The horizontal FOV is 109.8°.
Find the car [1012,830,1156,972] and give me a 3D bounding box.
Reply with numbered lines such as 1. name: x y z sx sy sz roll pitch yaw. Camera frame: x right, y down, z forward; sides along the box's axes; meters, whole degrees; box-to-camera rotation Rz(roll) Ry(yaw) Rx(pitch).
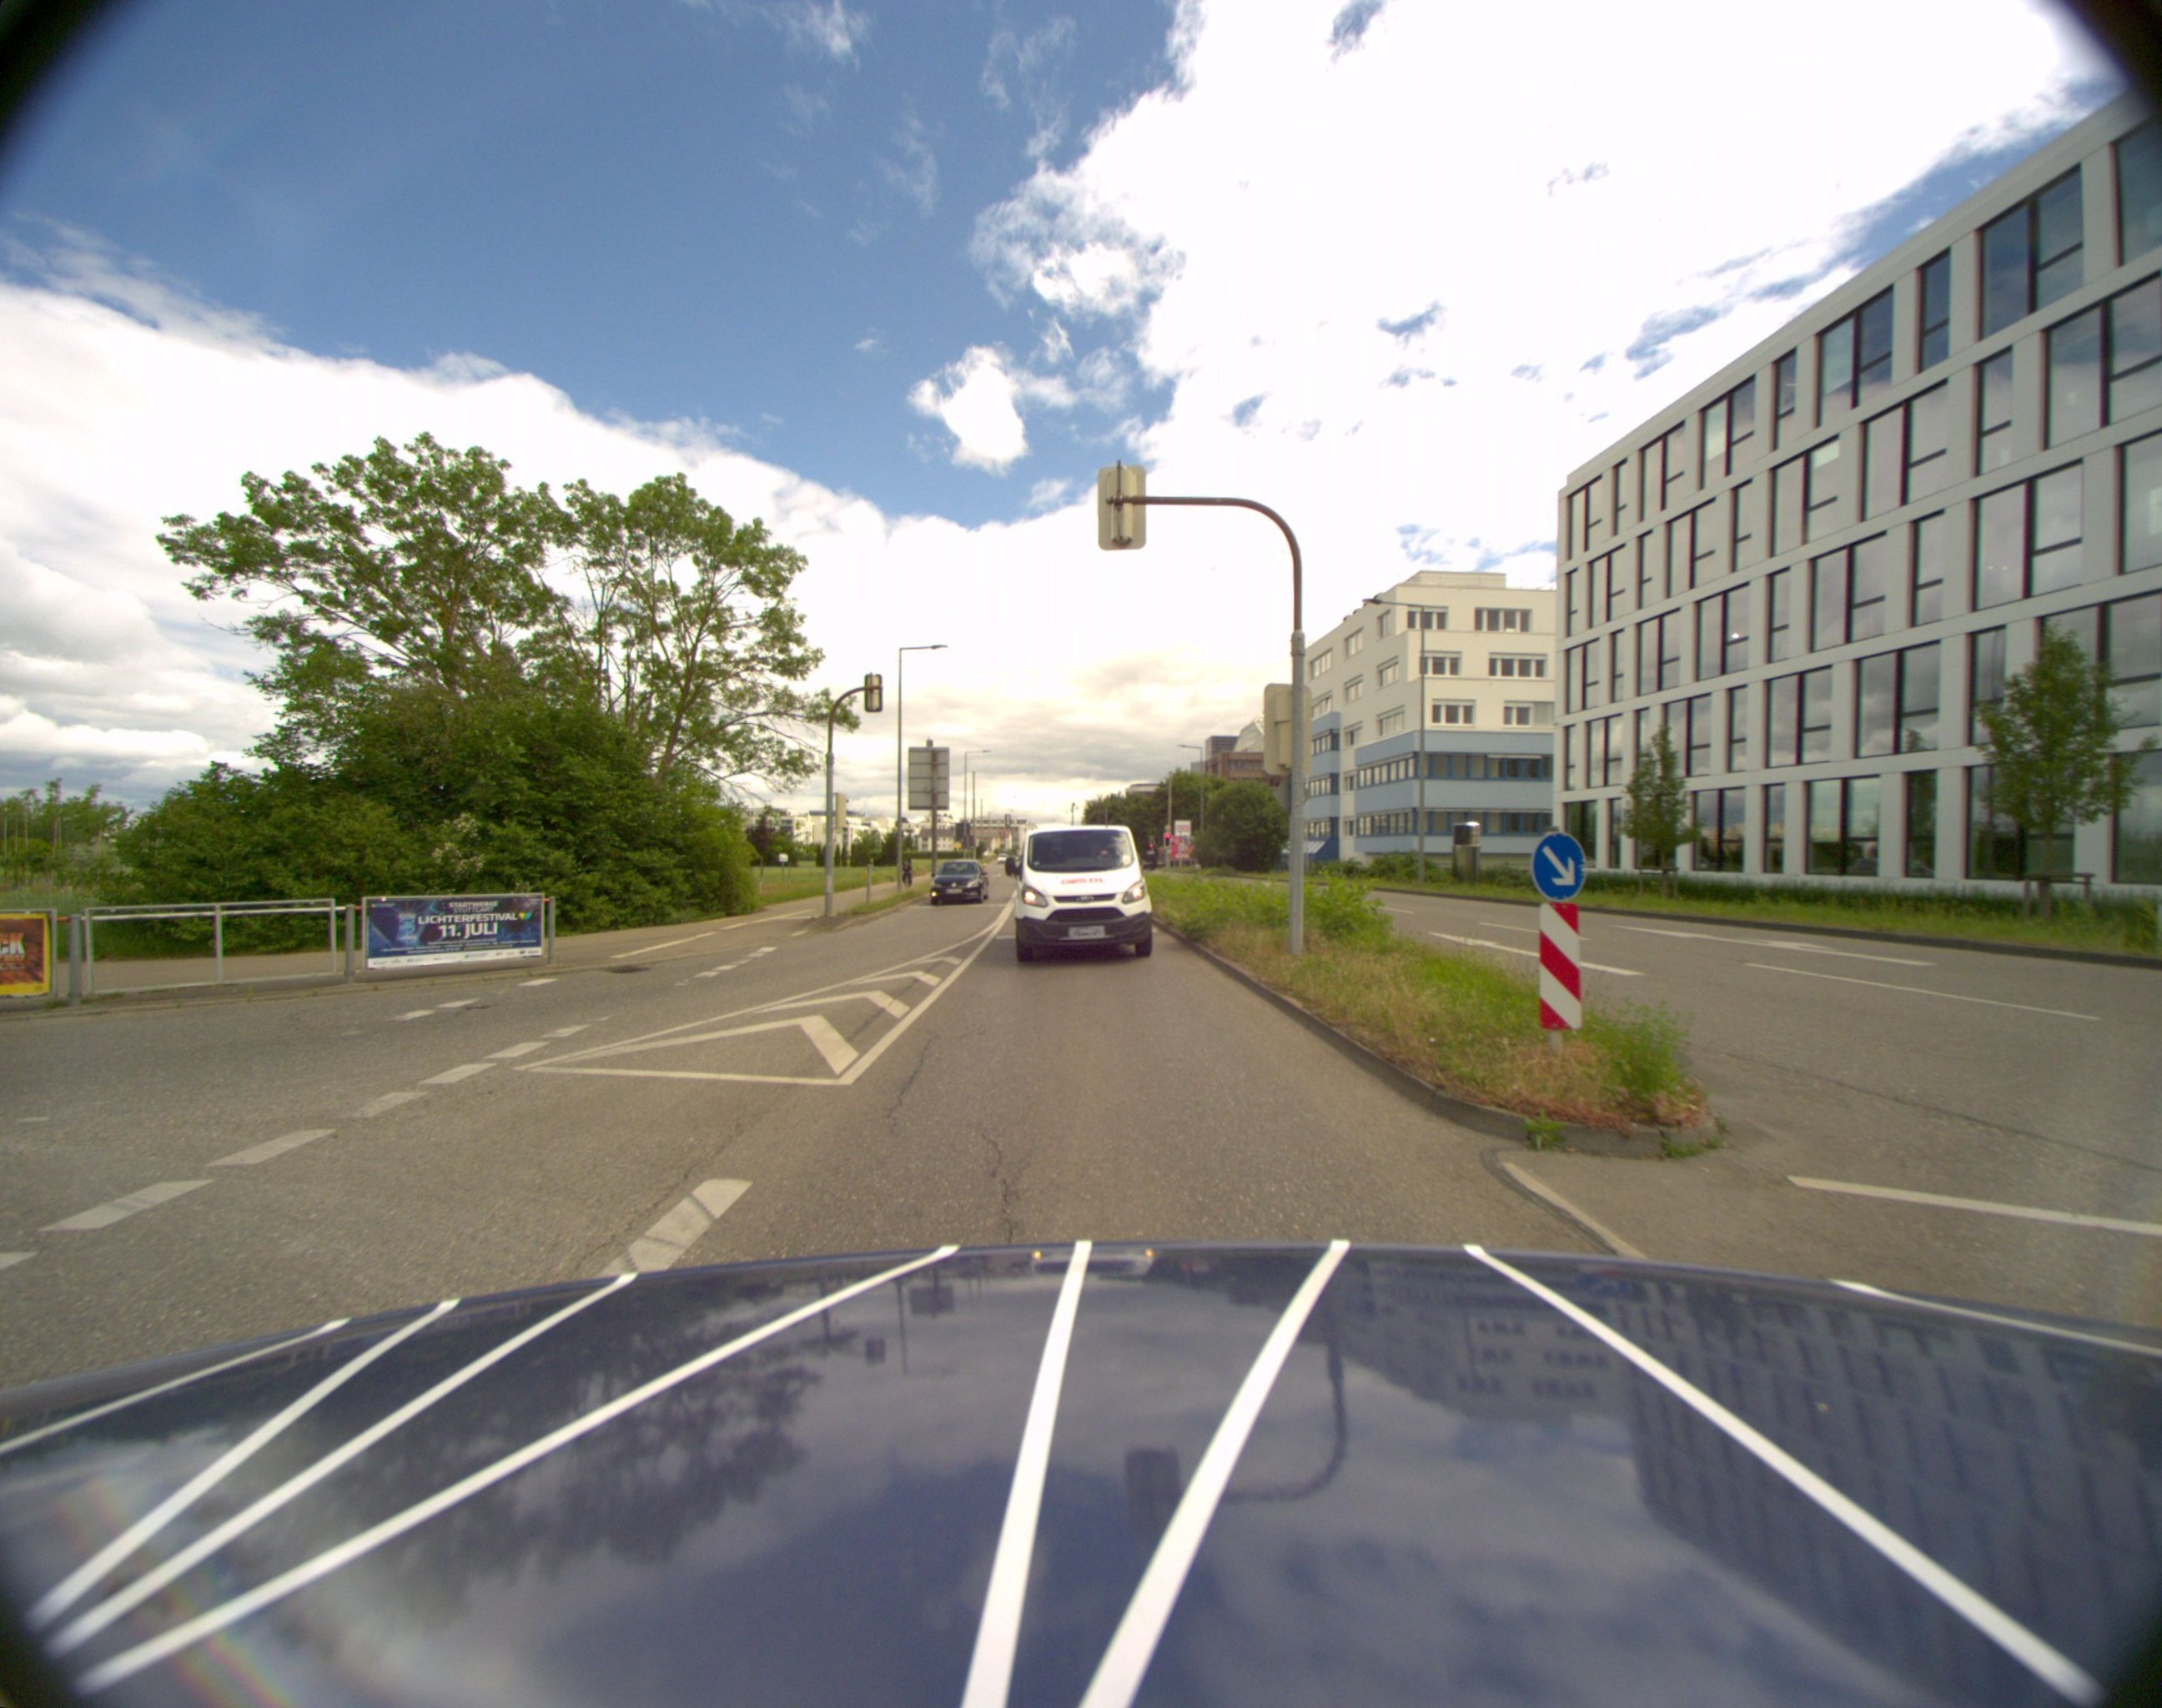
1. car: -0.086 0.642 13.158 1.968 1.938 5.053 -1 0 -3

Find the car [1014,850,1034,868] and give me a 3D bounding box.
1. car: -5.132 0.443 67.923 1.628 1.528 3.429 -2 1 -5

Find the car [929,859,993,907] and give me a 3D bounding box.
1. car: -3.985 0.926 25.721 1.683 1.410 3.738 -1 1 -2

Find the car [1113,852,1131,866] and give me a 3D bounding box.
1. car: 4.510 0.538 82.573 1.758 1.438 3.893 -2 1 6

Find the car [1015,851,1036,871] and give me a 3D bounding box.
1. car: -4.654 0.565 63.020 1.628 1.528 3.429 -2 1 -5

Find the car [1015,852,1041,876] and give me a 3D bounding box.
1. car: -3.620 0.652 51.533 1.653 1.528 3.429 -2 1 -5

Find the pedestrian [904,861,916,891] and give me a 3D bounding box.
1. pedestrian: -9.789 1.257 43.554 0.492 1.693 0.625 -2 1 -5
